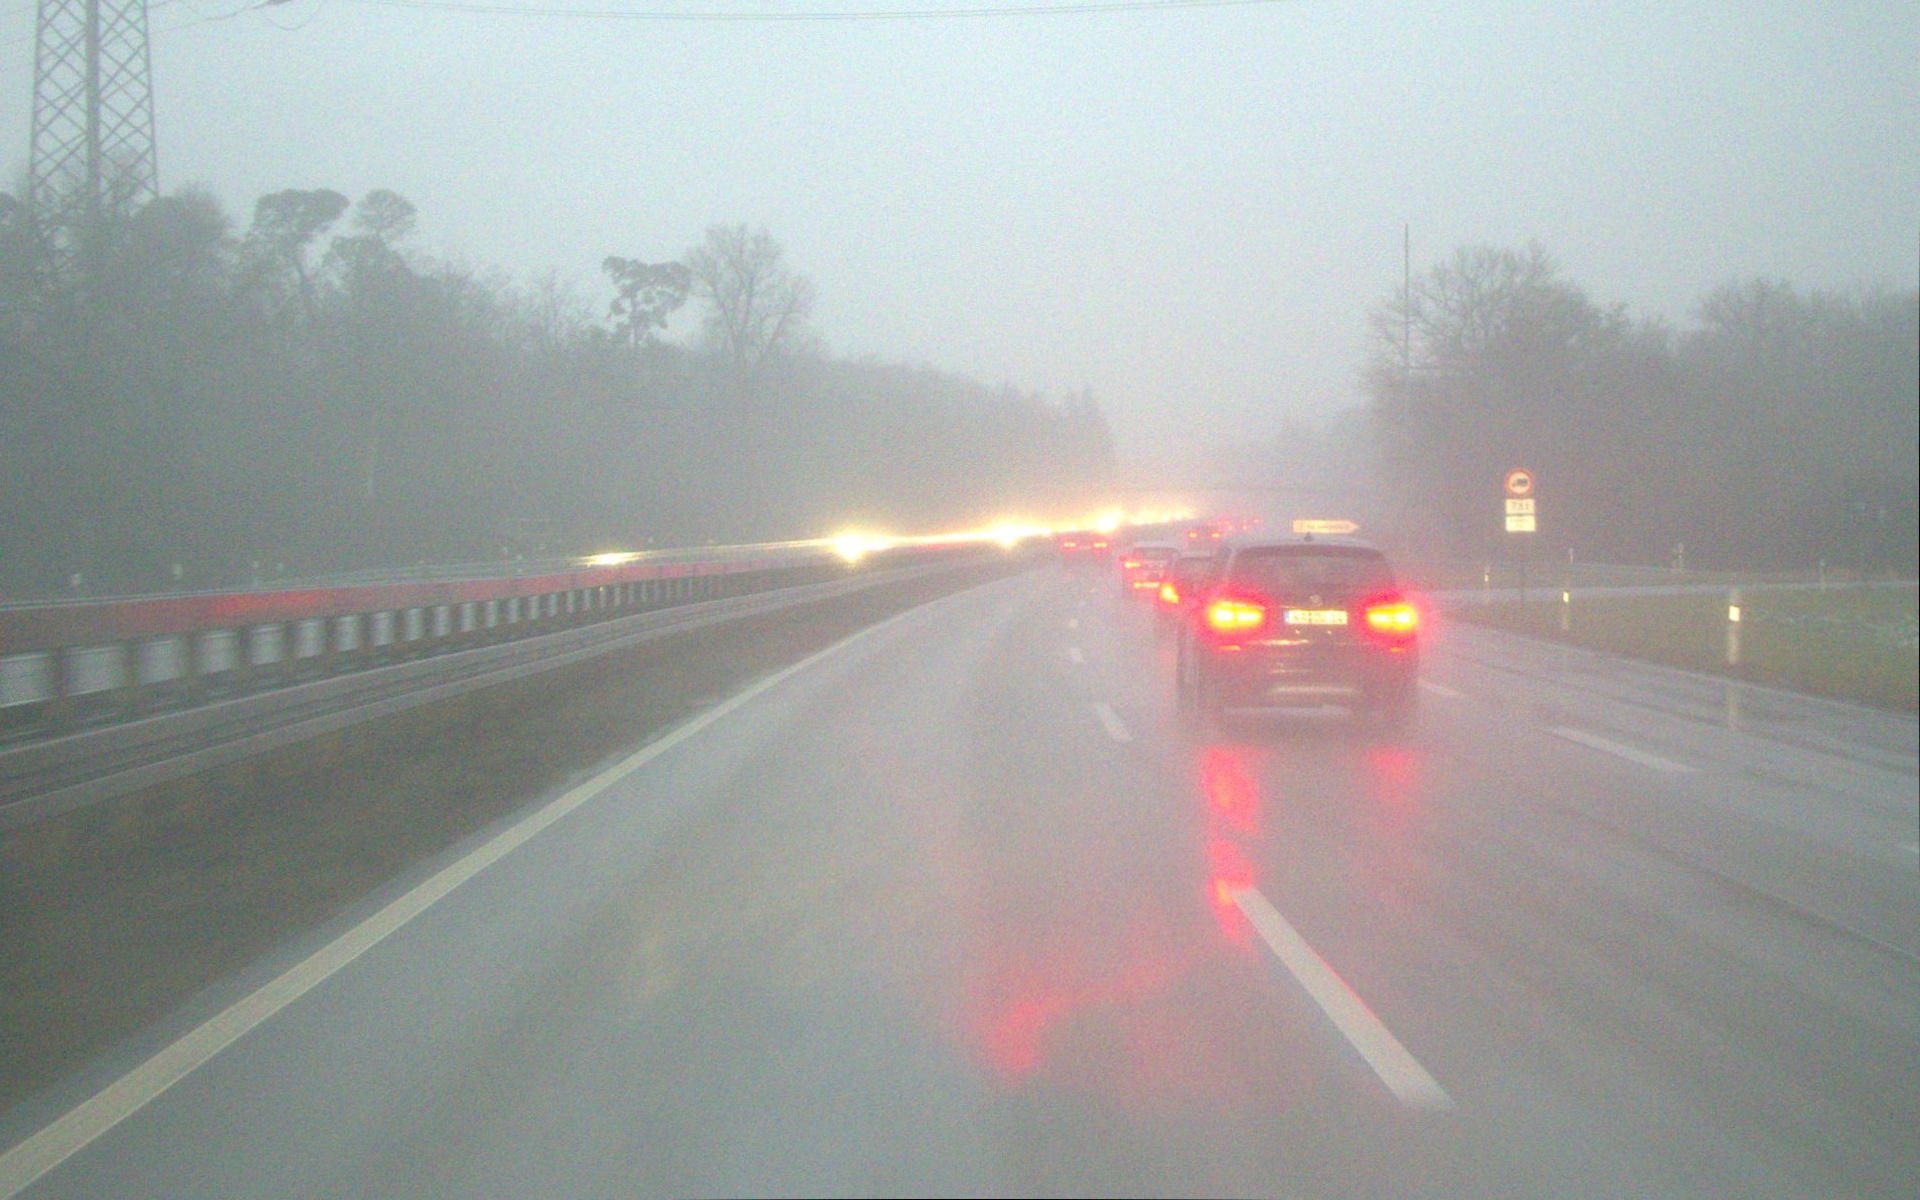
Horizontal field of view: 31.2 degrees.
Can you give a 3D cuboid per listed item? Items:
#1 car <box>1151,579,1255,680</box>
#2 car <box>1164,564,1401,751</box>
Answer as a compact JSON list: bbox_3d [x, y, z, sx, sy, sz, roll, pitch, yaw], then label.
[{"bbox_3d":[3.958,0.451,55.575,1.595,1.485,3.594,0,2,5],"label":"car"},{"bbox_3d":[2.825,0.466,30.781,1.678,1.503,3.809,0,2,-1],"label":"car"}]
